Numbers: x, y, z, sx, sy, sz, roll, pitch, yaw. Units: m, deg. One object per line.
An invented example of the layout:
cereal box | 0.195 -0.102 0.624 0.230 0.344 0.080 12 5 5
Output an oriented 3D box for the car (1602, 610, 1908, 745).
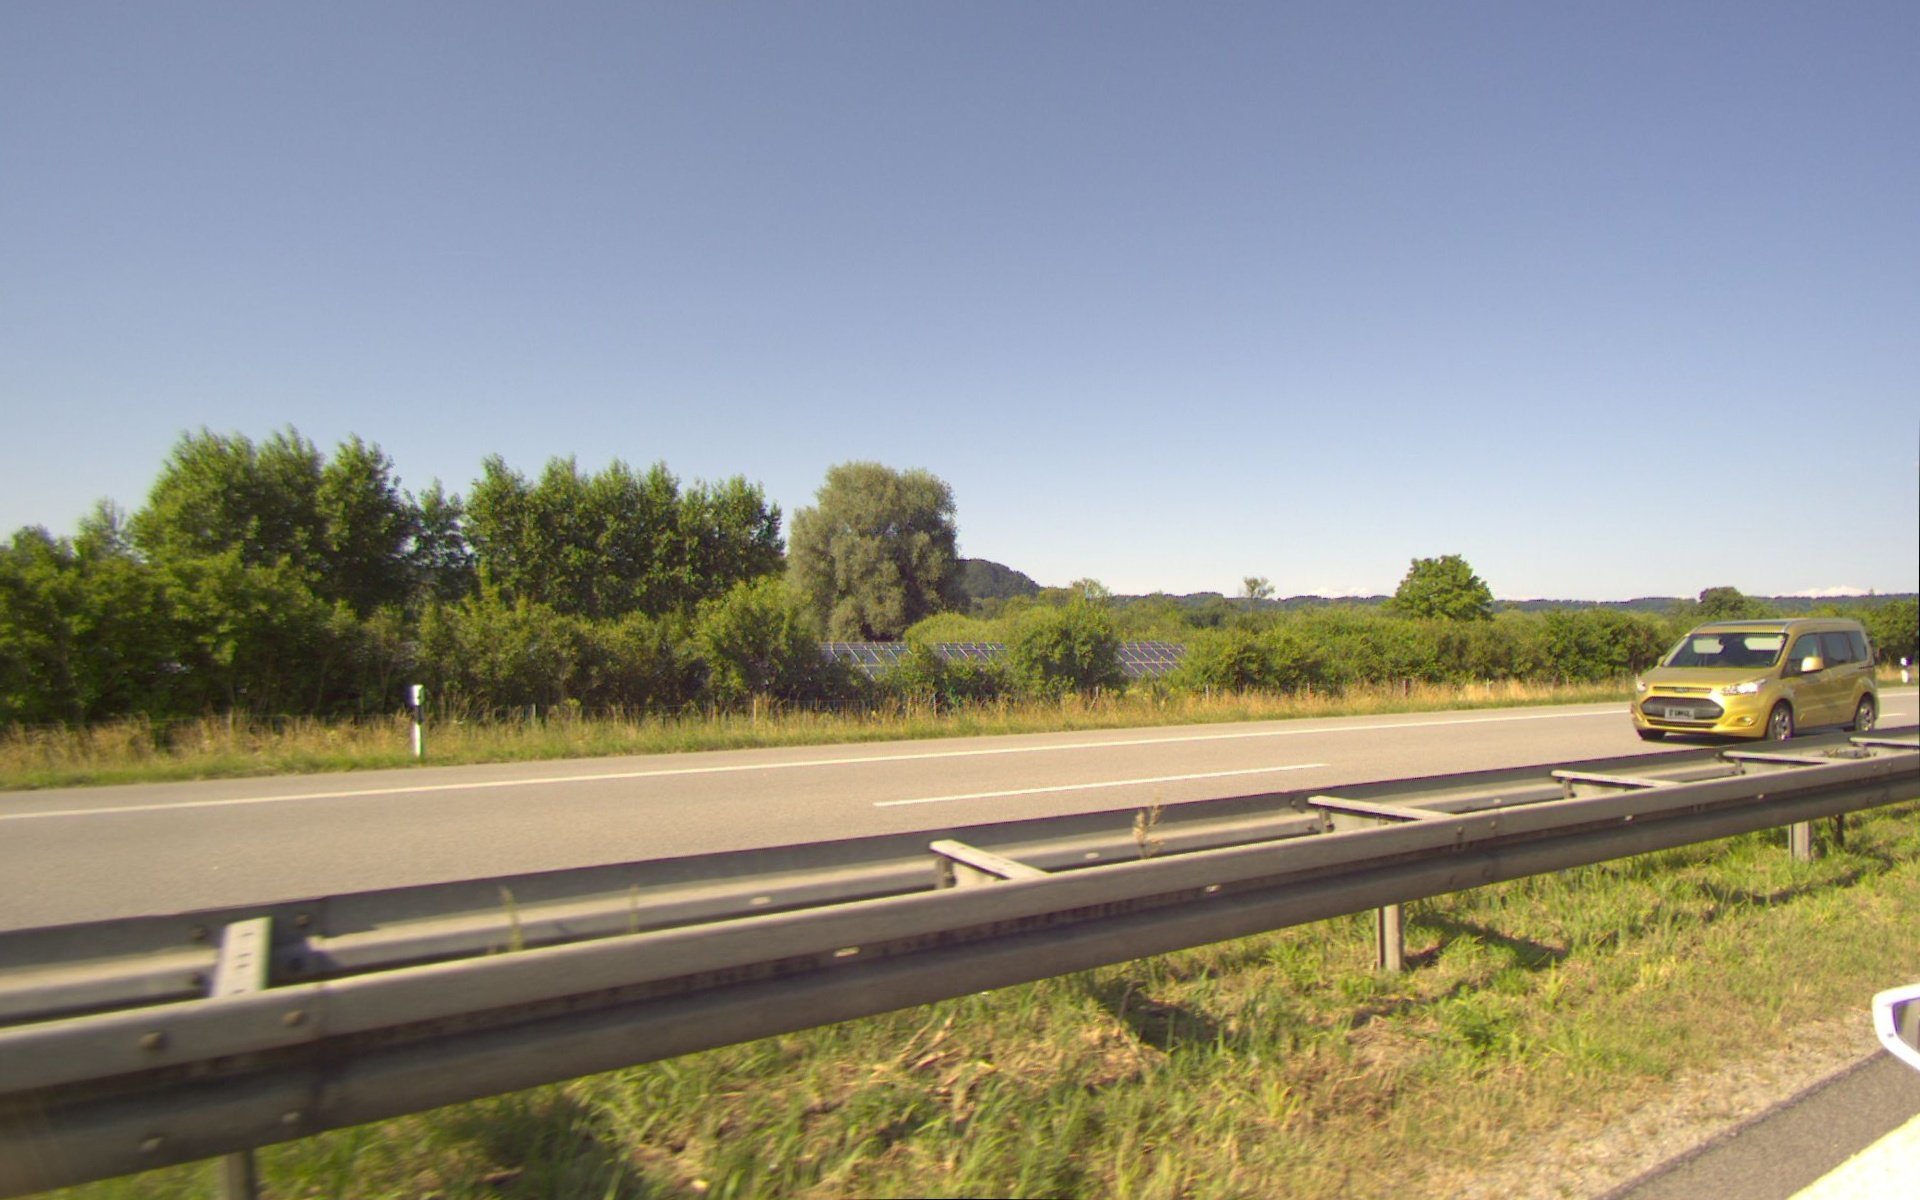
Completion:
car | 12.183 1.146 15.352 4.690 1.794 1.943 2 -4 -29
